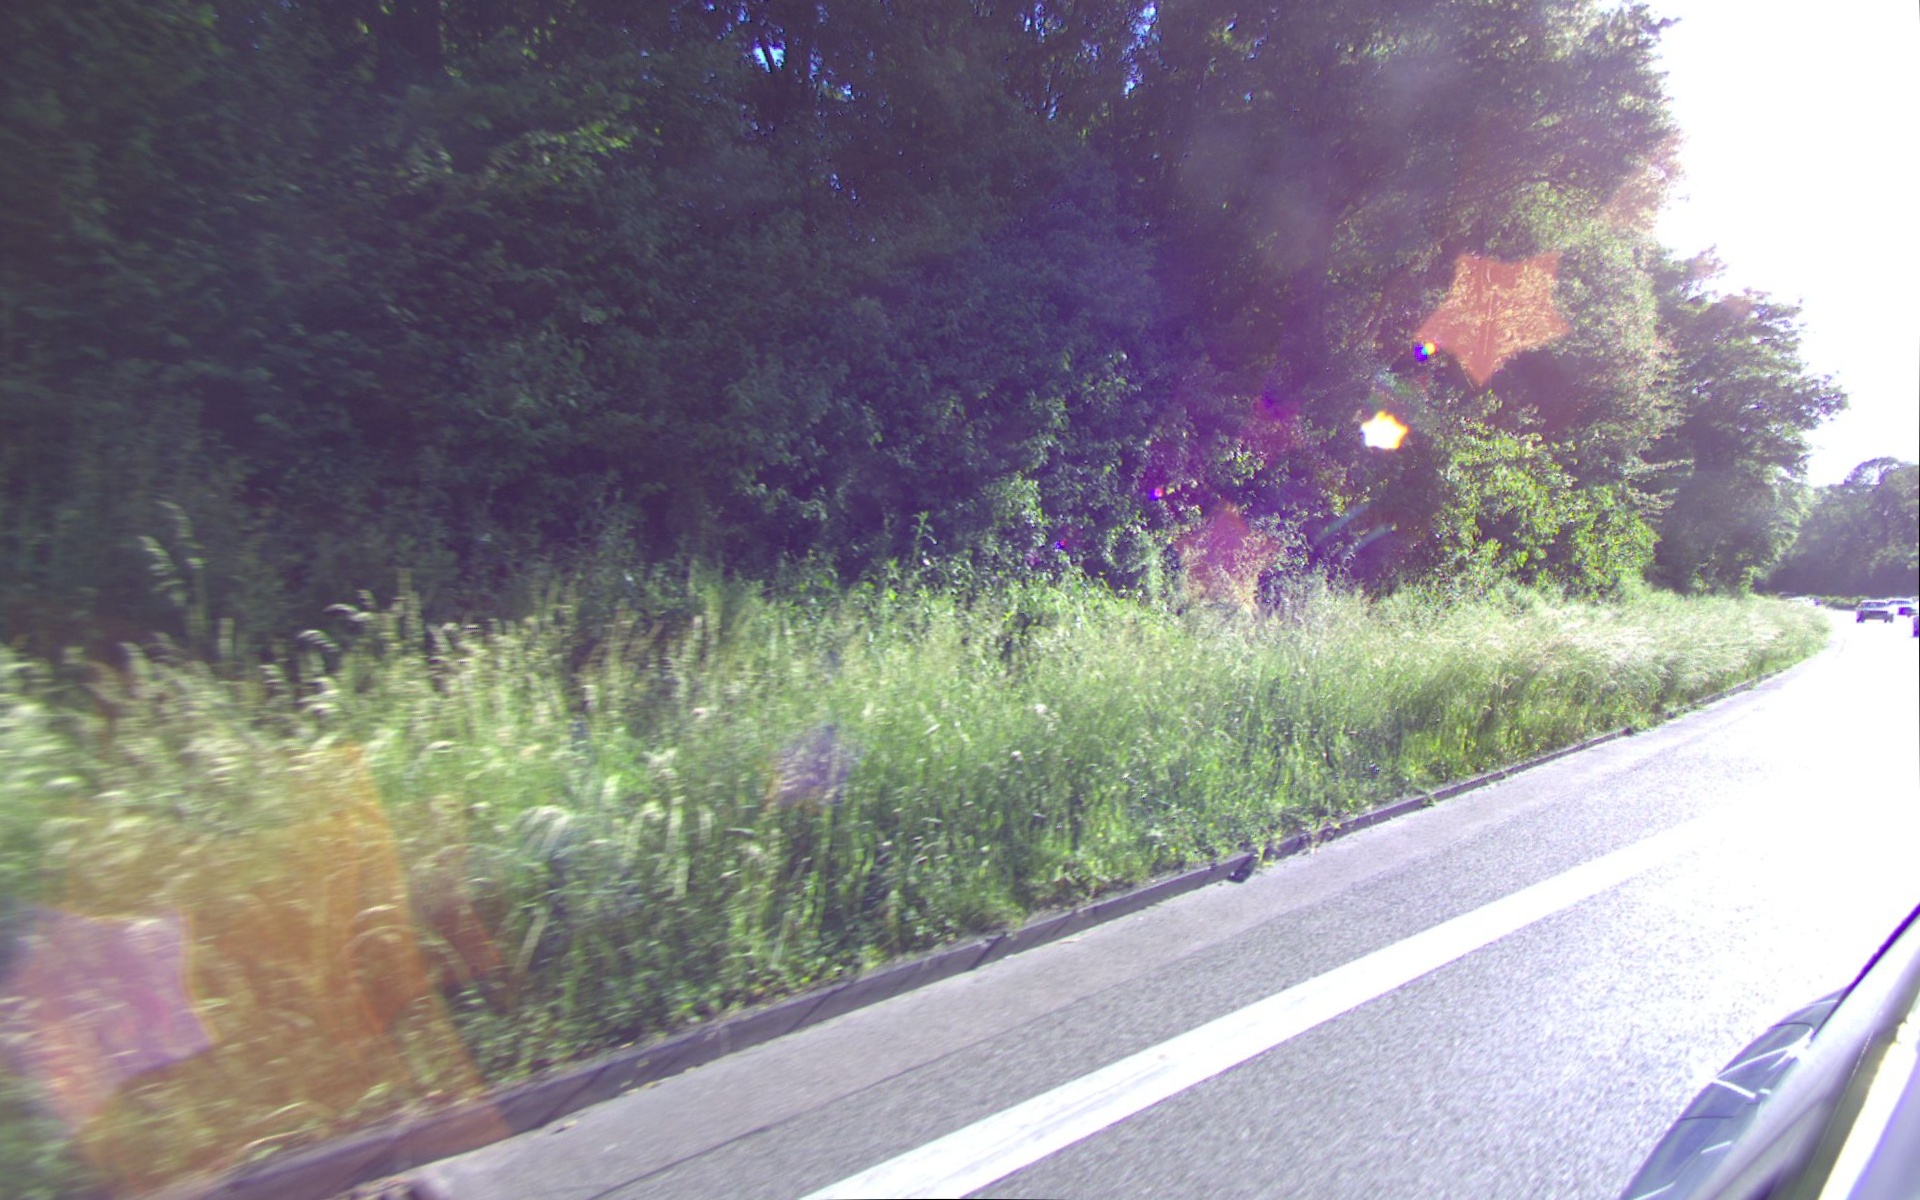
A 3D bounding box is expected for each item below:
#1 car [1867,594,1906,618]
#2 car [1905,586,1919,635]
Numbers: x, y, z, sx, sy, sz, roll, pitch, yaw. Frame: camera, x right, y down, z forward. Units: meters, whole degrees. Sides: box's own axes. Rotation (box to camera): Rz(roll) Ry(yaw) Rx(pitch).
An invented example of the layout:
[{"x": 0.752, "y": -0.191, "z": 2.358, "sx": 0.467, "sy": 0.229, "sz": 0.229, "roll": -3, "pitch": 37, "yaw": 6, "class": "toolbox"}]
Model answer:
[{"x": 64.848, "y": 0.402, "z": 70.860, "sx": 1.929, "sy": 1.526, "sz": 5.007, "roll": 2, "pitch": 1, "yaw": 43, "class": "car"}, {"x": 43.472, "y": 0.441, "z": 44.729, "sx": 2.248, "sy": 1.876, "sz": 5.069, "roll": 0, "pitch": 3, "yaw": 41, "class": "car"}]
